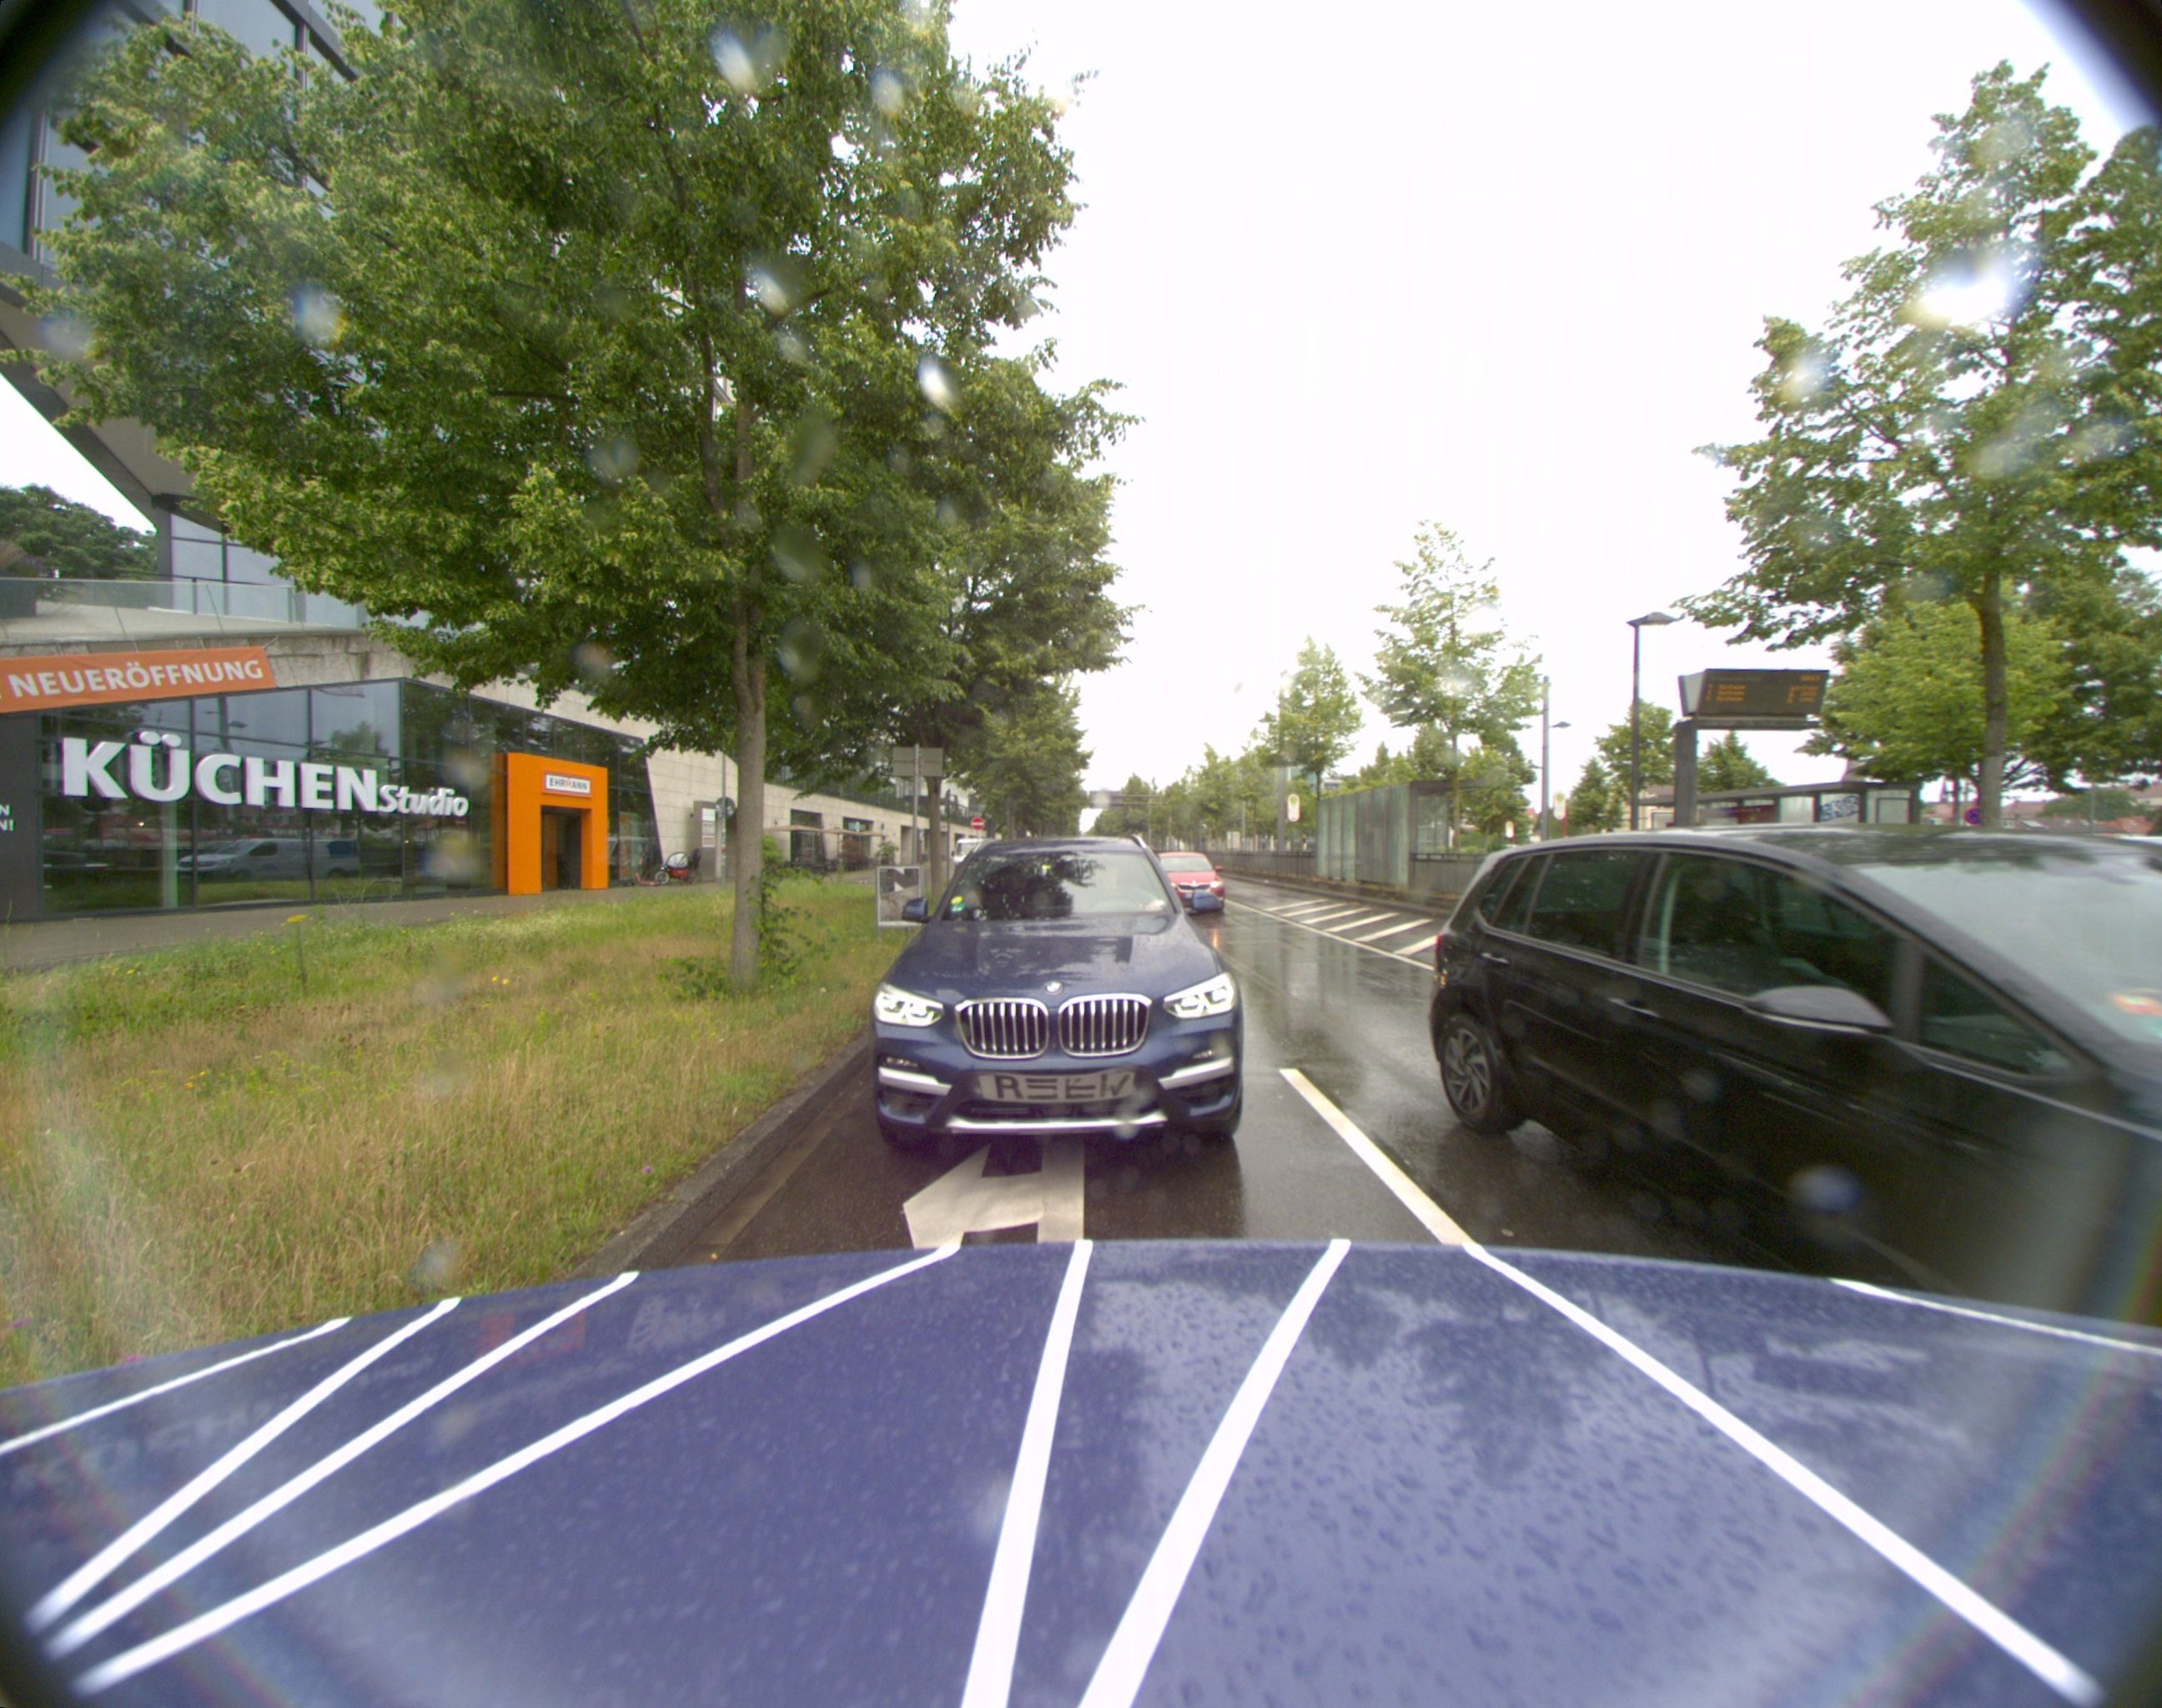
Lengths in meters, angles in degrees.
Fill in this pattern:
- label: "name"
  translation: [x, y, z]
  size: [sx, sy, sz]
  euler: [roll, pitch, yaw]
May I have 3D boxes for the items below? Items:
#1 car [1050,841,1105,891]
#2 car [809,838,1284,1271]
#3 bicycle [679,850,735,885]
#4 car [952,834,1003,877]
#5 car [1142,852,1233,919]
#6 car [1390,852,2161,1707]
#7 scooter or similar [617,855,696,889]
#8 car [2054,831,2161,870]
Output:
- label: "car"
  translation: [-0.089, 0.385, 27.849]
  size: [1.788, 1.638, 3.999]
  euler: [-2, 1, 1]
- label: "car"
  translation: [-0.117, 0.869, 5.354]
  size: [1.916, 1.736, 4.384]
  euler: [-2, -1, 1]
- label: "bicycle"
  translation: [-15.292, 0.534, 31.184]
  size: [0.882, 1.339, 2.696]
  euler: [-2, 1, 1]
- label: "car"
  translation: [-5.806, 0.054, 43.385]
  size: [2.084, 2.189, 5.097]
  euler: [-2, 1, 1]
- label: "car"
  translation: [2.669, 0.734, 20.008]
  size: [1.788, 1.450, 4.315]
  euler: [-2, 1, 1]
- label: "car"
  translation: [2.800, 0.801, 2.526]
  size: [1.788, 1.509, 4.332]
  euler: [-2, 1, 1]
- label: "scooter or similar"
  translation: [-15.650, 0.640, 28.105]
  size: [0.810, 1.093, 2.617]
  euler: [-2, 1, 18]
- label: "car"
  translation: [70.132, -0.245, 49.913]
  size: [2.356, 2.462, 7.636]
  euler: [-2, 1, -3]
